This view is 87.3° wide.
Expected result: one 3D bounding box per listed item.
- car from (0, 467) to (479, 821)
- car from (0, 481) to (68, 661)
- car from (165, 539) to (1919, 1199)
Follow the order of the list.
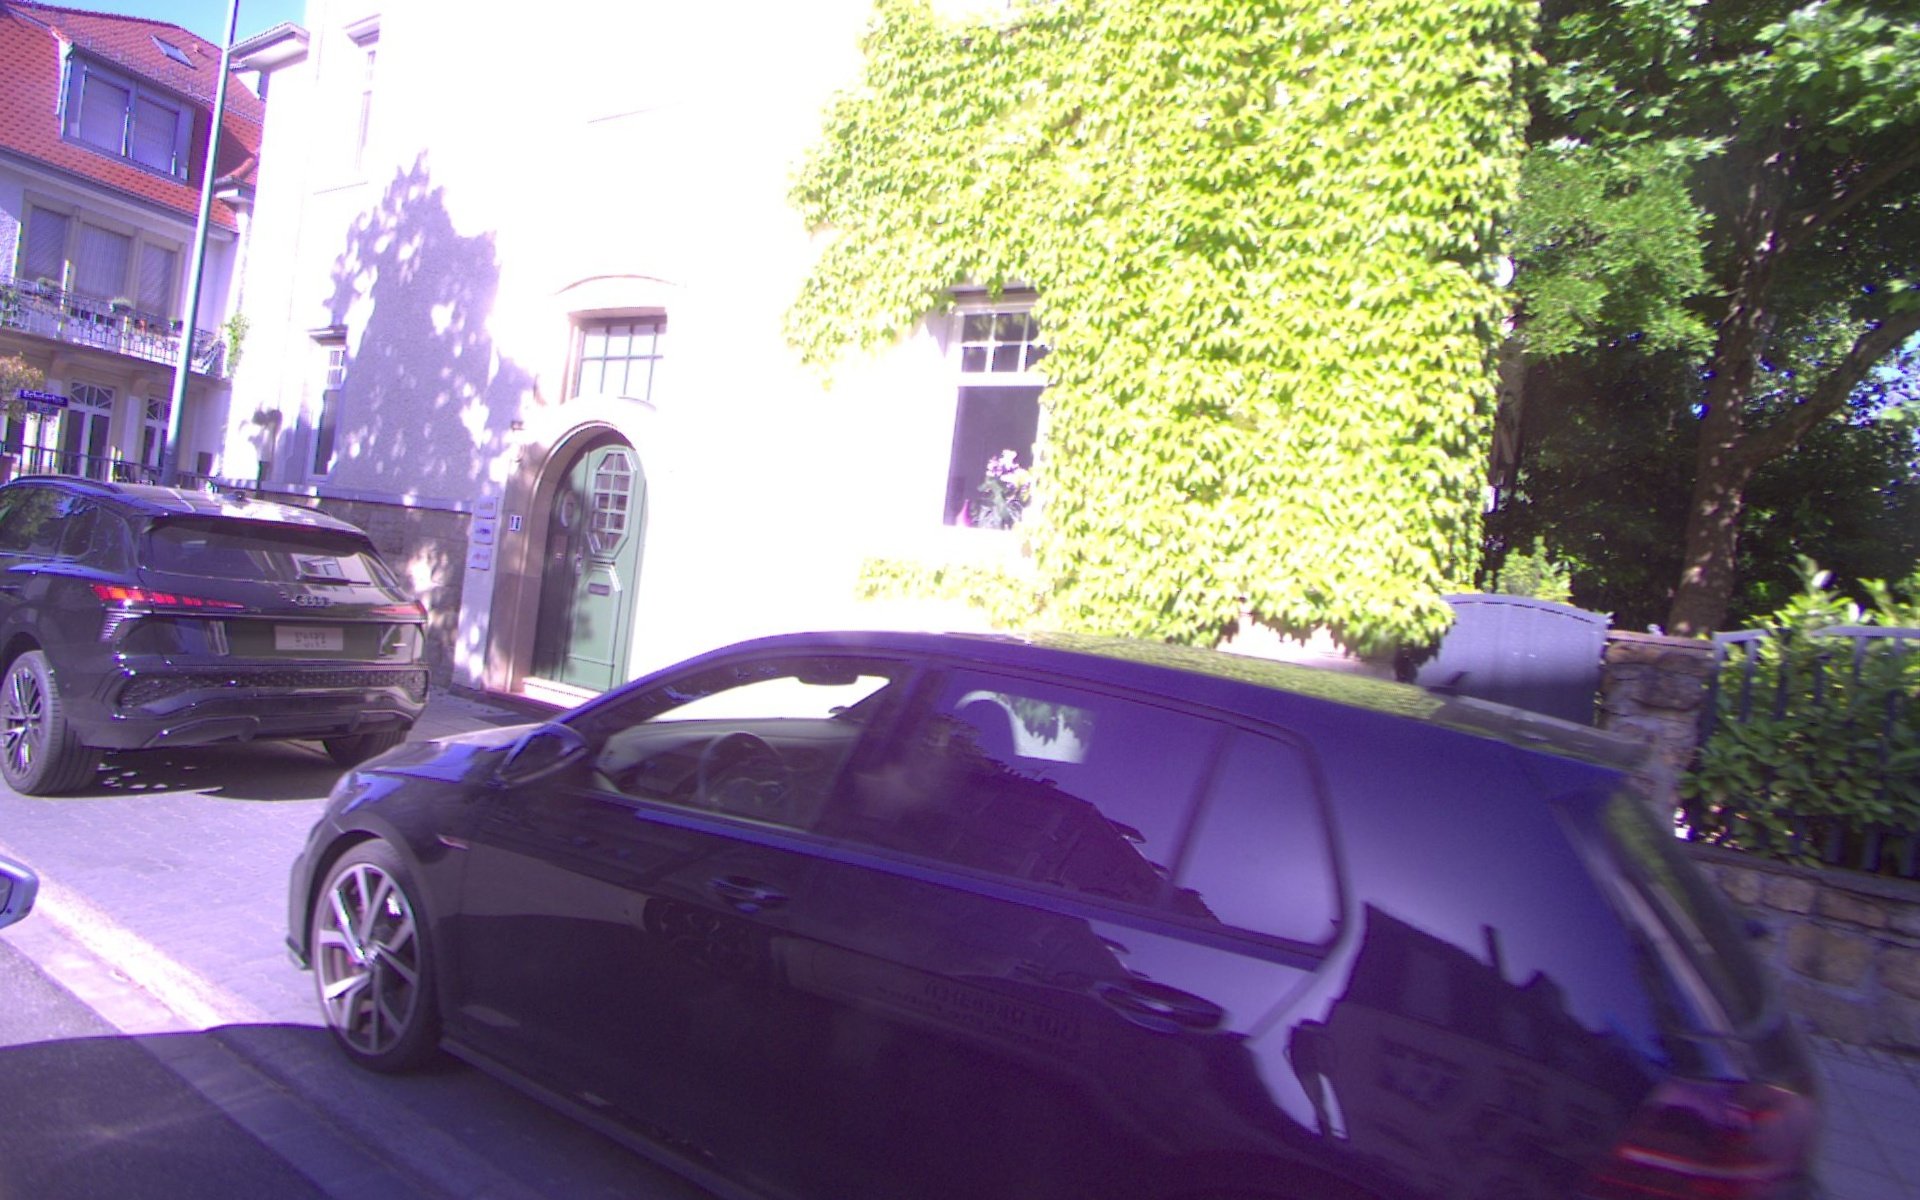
[{"bbox_3d":[-5.188,0.081,6.272,4.294,1.539,1.793,6,0,31],"label":"car"},{"bbox_3d":[-10.162,-0.434,9.210,3.933,1.539,1.665,6,0,28],"label":"car"},{"bbox_3d":[-0.313,0.737,2.899,4.123,1.454,1.710,6,1,31],"label":"car"}]
